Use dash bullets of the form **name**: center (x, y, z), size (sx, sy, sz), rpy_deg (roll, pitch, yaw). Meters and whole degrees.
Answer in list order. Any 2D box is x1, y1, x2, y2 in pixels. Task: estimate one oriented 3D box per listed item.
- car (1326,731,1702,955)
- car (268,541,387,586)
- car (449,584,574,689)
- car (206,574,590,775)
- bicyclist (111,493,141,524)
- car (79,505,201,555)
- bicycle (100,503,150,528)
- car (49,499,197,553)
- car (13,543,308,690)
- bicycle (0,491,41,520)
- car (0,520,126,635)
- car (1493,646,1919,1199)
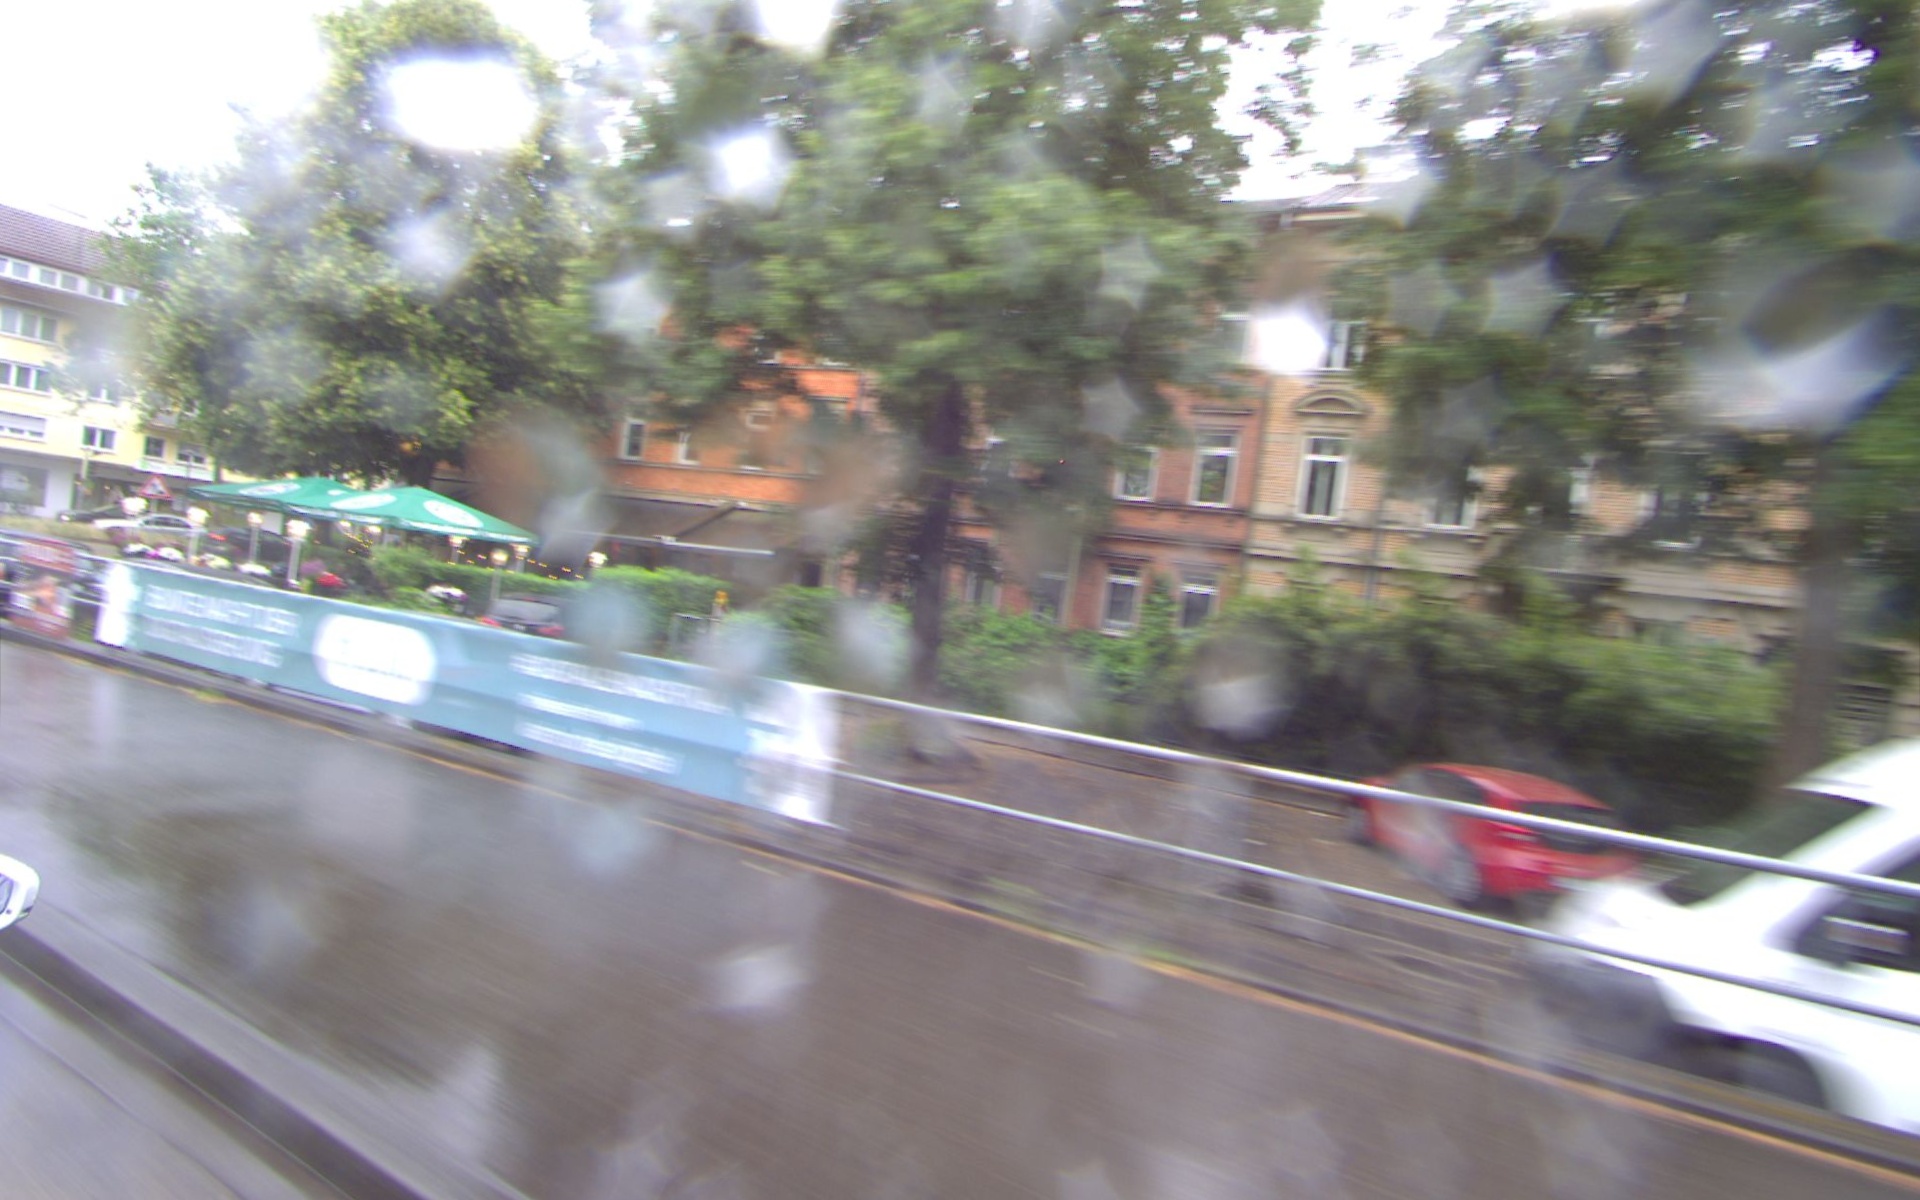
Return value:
- **car**: center (6.411, 2.752, 12.387), size (1.865, 1.470, 4.429), rpy_deg (8, 0, -3)
- **car**: center (-28.070, -1.594, 44.724), size (1.972, 1.347, 3.984), rpy_deg (6, -2, 41)
- **car**: center (-9.155, 0.682, 20.847), size (1.973, 1.733, 3.982), rpy_deg (8, -2, -21)
- **car**: center (-6.361, 0.772, 11.329), size (4.004, 1.557, 1.737), rpy_deg (7, -2, 28)
- **bicyclist**: center (-47.700, -5.246, 57.521), size (0.923, 1.565, 1.065), rpy_deg (7, -1, 41)
- **car**: center (-36.235, -3.082, 44.509), size (3.929, 1.508, 1.783), rpy_deg (9, -1, -45)
- **bicycle**: center (-47.728, -4.825, 57.517), size (0.650, 1.039, 2.015), rpy_deg (7, -2, 42)
- **car**: center (-38.554, -3.337, 46.464), size (1.973, 1.661, 4.932), rpy_deg (3, -4, 41)
- **car**: center (-10.790, 0.202, 13.529), size (3.905, 1.416, 1.706), rpy_deg (7, -2, 30)
- **bicycle**: center (-52.044, -5.225, 55.342), size (0.525, 1.277, 2.098), rpy_deg (8, 0, 44)
- **car**: center (-15.377, -0.487, 16.288), size (3.466, 1.457, 1.711), rpy_deg (8, -4, 32)
- **car**: center (6.182, 1.895, 4.895), size (6.051, 2.447, 2.216), rpy_deg (7, -2, 27)
